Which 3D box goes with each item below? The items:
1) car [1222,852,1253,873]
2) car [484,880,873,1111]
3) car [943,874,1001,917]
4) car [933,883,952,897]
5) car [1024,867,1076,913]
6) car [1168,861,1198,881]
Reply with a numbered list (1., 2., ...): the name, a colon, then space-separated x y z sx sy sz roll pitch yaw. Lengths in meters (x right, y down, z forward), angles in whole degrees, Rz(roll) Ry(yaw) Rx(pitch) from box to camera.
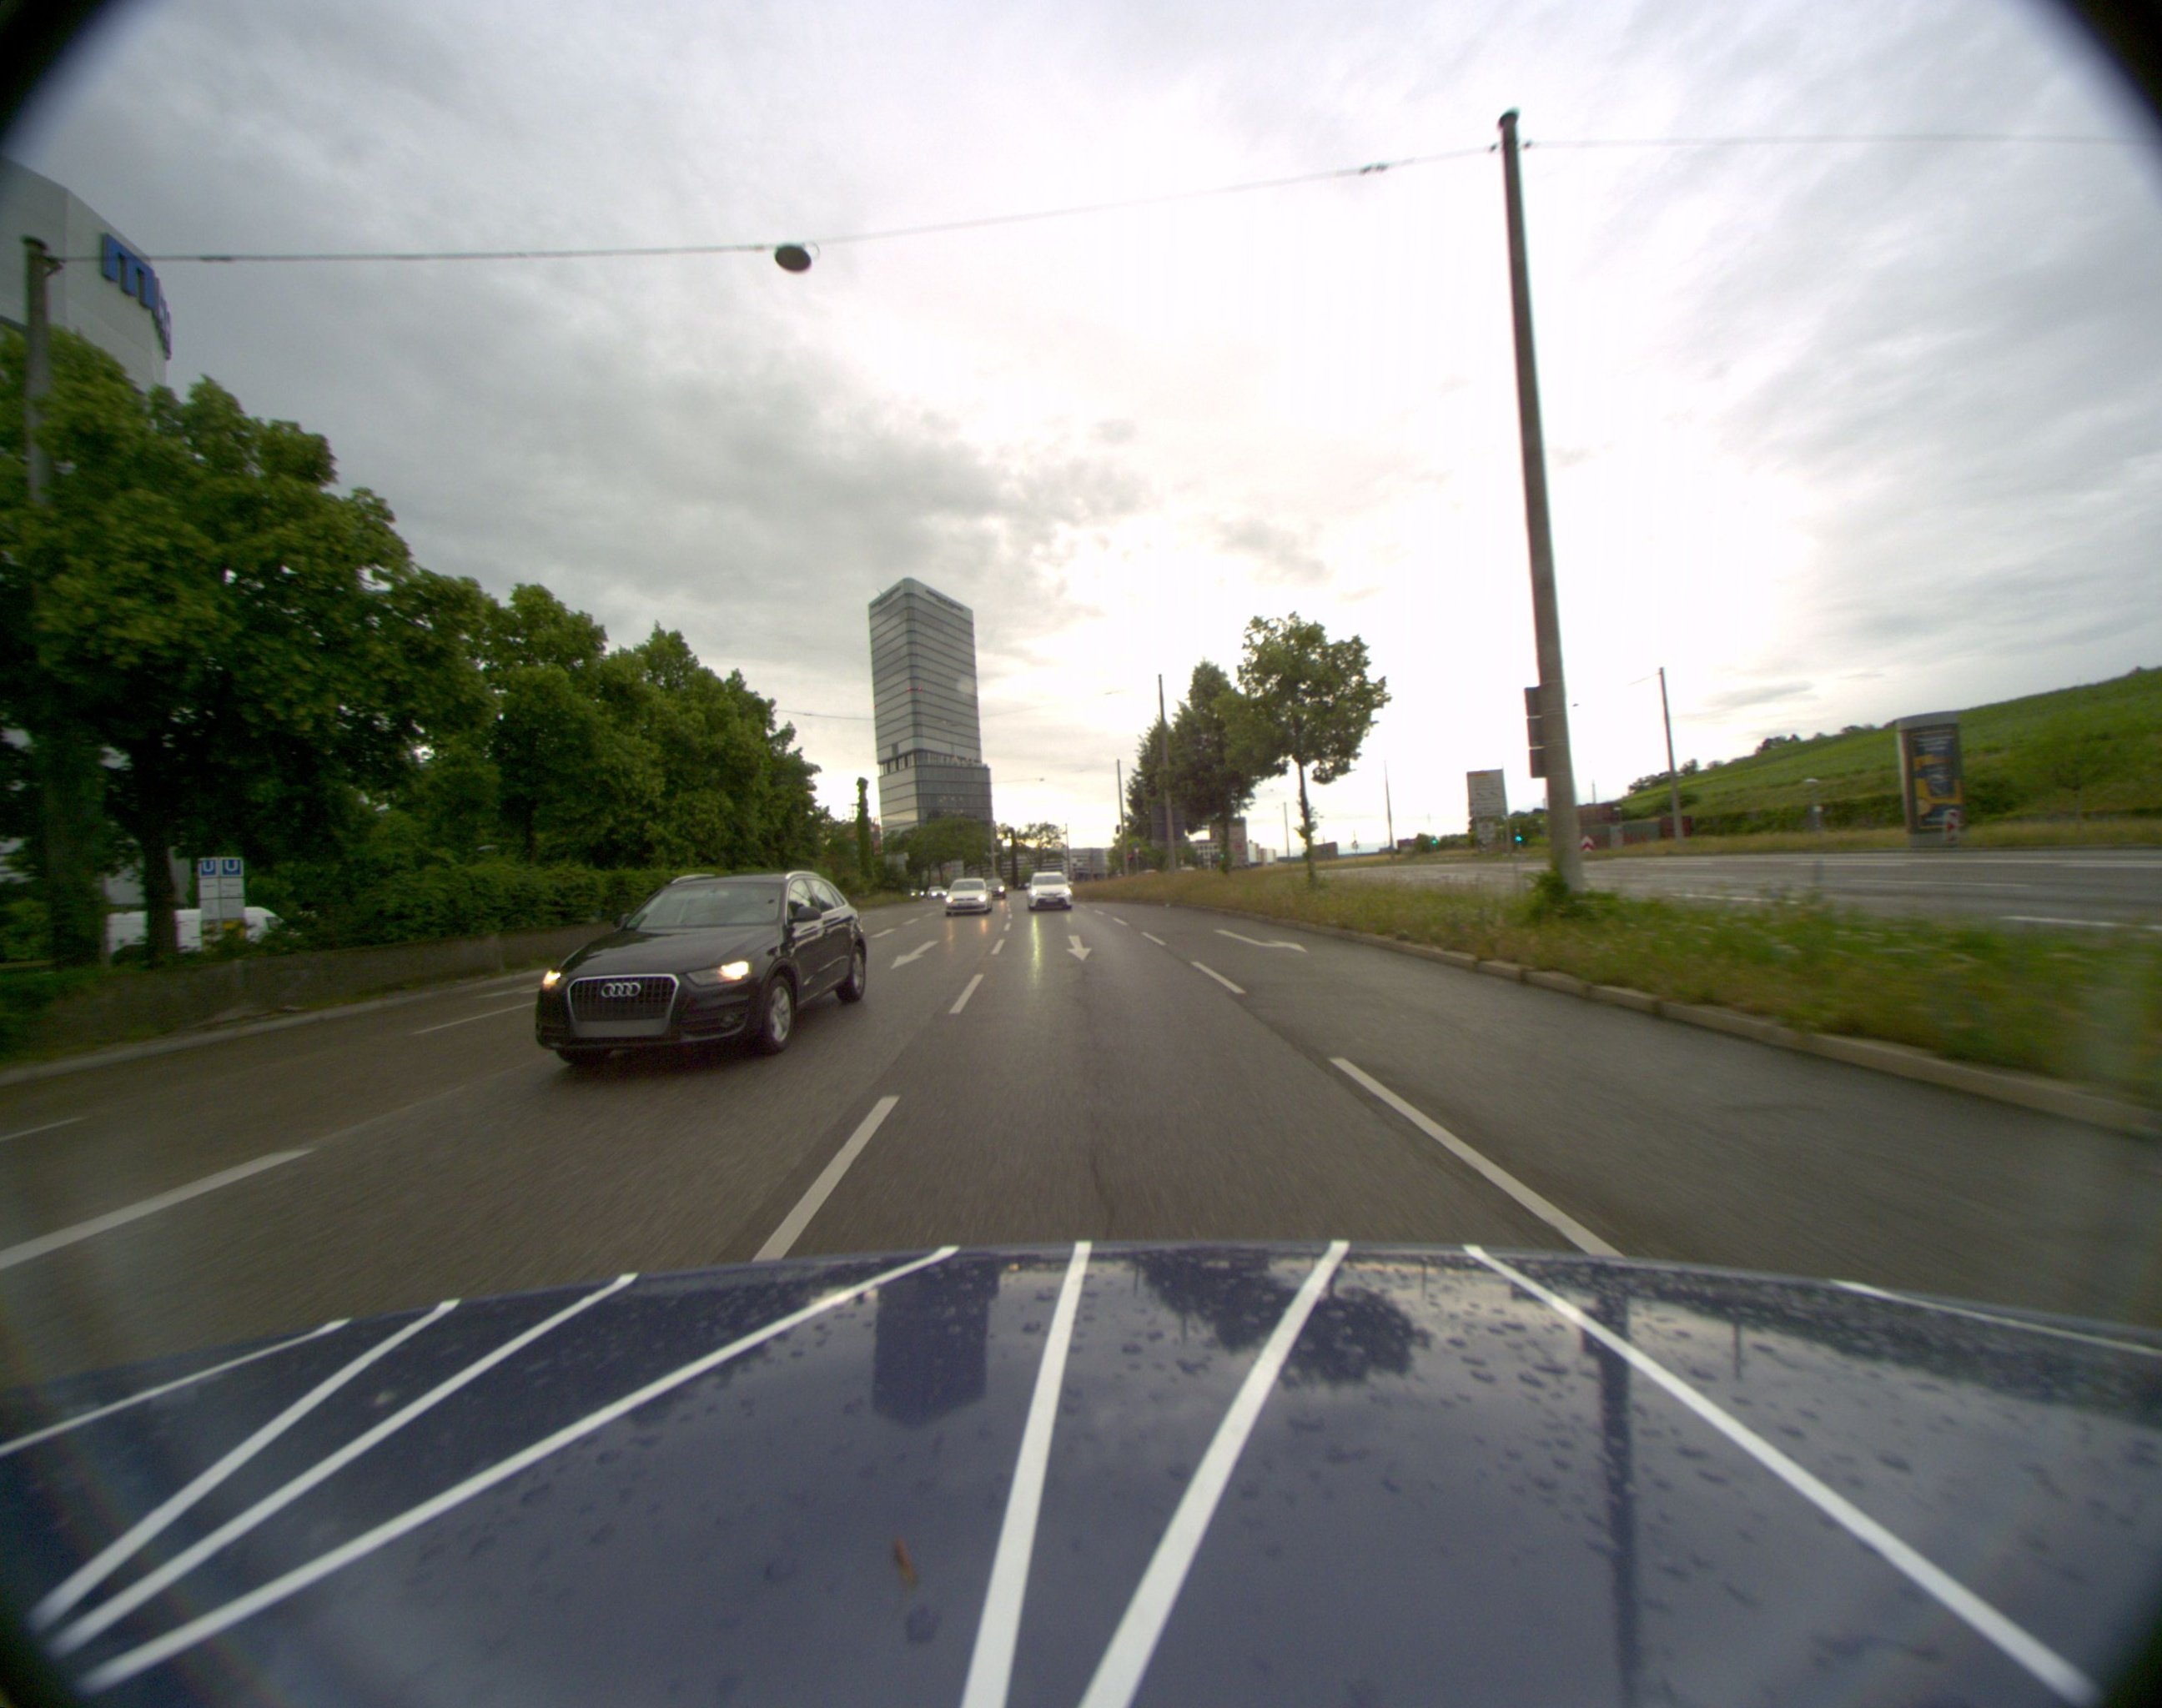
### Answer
1. car: 14.034 0.755 68.224 1.772 1.739 4.000 -4 -1 -1
2. car: -3.505 1.101 7.624 1.730 1.524 4.127 -4 -1 -2
3. car: -4.389 1.646 31.158 1.730 1.463 4.264 -5 -1 -1
4. car: -16.095 4.157 88.420 1.636 1.467 3.676 -4 -1 -4
5. car: -1.403 1.504 32.741 1.828 1.574 4.294 -4 1 -6
6. car: 9.229 1.561 69.051 1.883 1.644 4.357 -4 -1 -2
